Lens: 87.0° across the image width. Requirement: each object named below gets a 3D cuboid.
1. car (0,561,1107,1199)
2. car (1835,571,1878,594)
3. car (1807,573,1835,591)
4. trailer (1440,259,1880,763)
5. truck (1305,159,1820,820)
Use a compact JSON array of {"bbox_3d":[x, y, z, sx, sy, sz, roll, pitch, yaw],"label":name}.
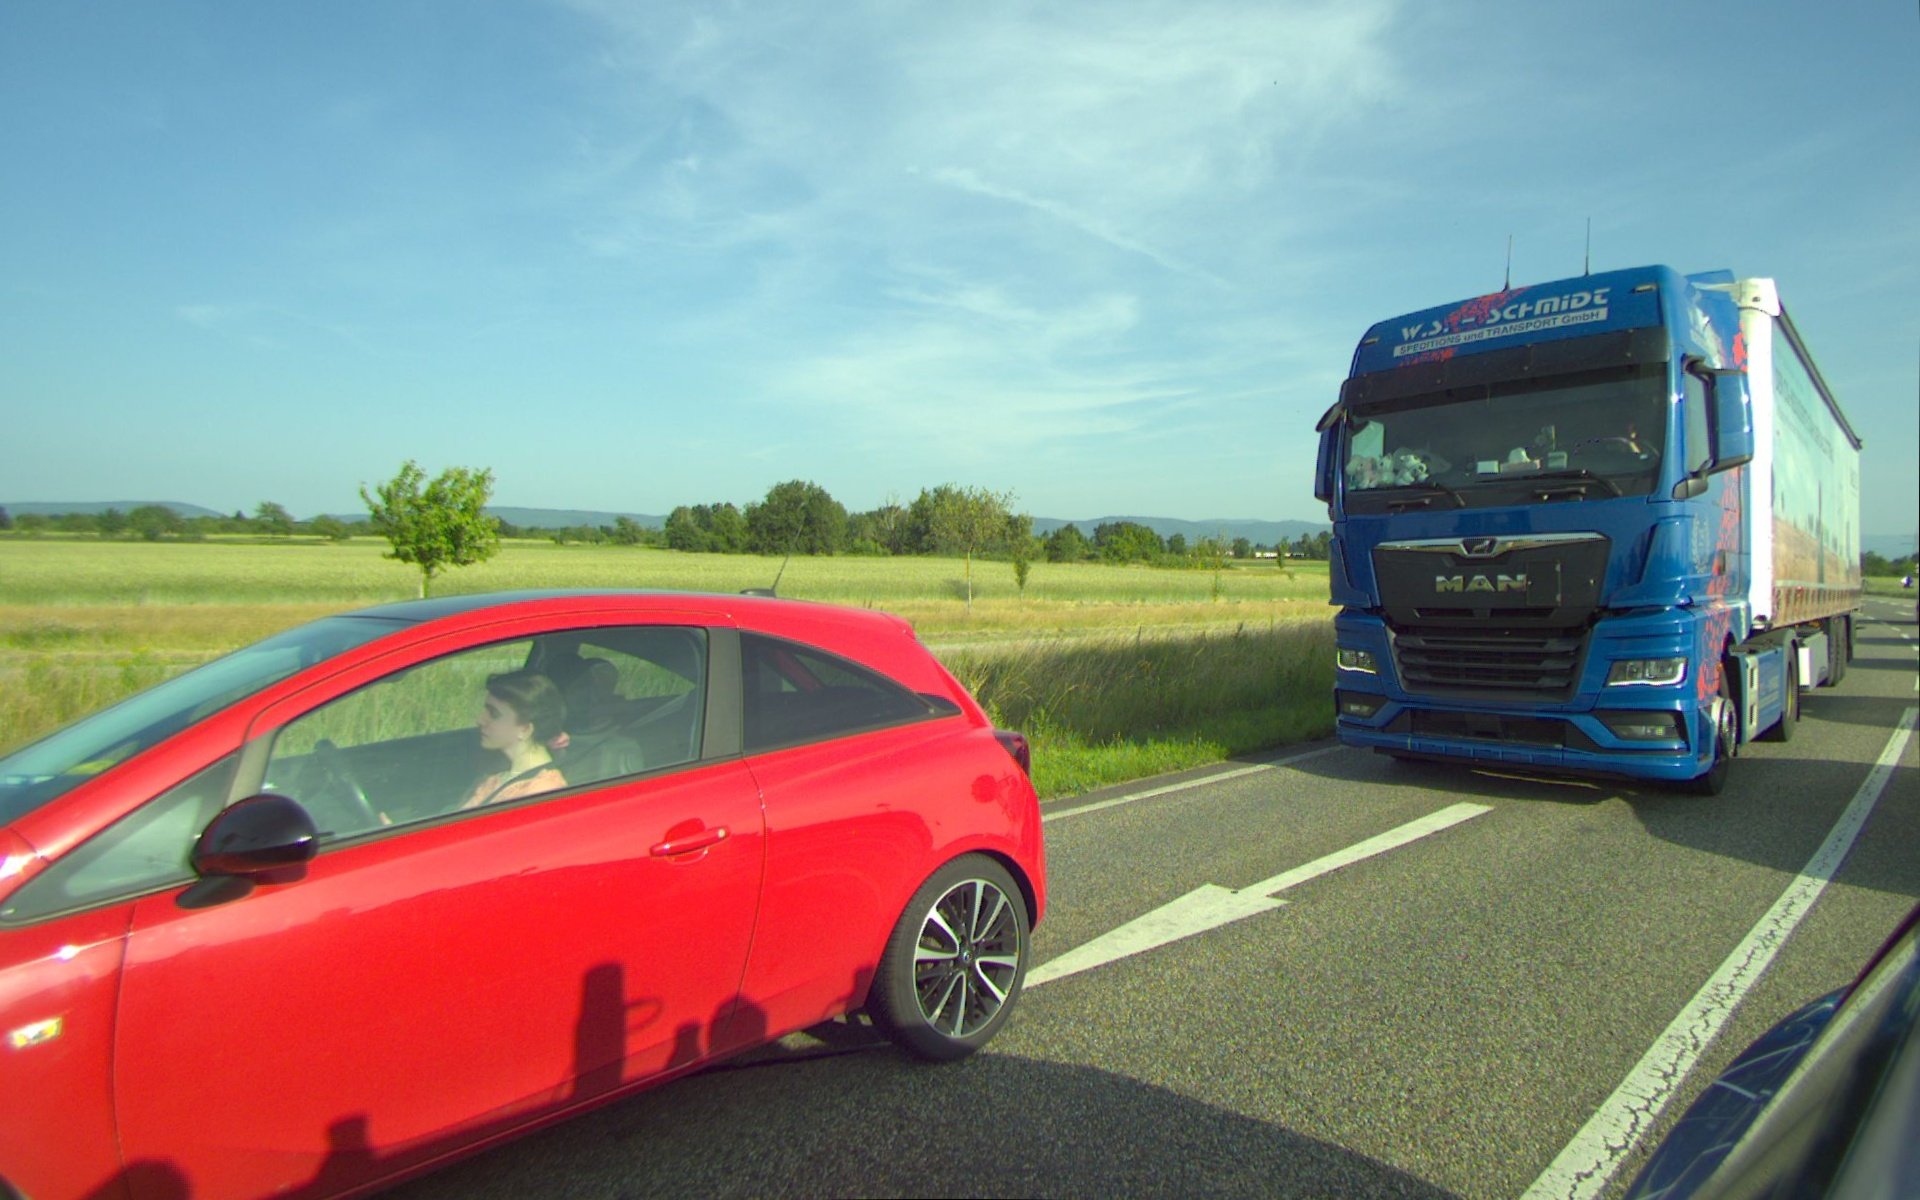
[{"bbox_3d":[-1.455,0.649,2.803,3.889,1.482,1.663,-1,2,-44],"label":"car"},{"bbox_3d":[65.137,-1.297,73.562,1.989,1.552,3.947,1,2,37],"label":"car"},{"bbox_3d":[79.320,-1.645,93.263,1.746,1.637,3.760,1,2,38],"label":"car"},{"bbox_3d":[10.489,-0.849,13.927,2.645,4.028,13.708,0,1,45],"label":"trailer"},{"bbox_3d":[5.714,-0.722,9.103,2.645,3.968,5.855,0,1,45],"label":"truck"}]
